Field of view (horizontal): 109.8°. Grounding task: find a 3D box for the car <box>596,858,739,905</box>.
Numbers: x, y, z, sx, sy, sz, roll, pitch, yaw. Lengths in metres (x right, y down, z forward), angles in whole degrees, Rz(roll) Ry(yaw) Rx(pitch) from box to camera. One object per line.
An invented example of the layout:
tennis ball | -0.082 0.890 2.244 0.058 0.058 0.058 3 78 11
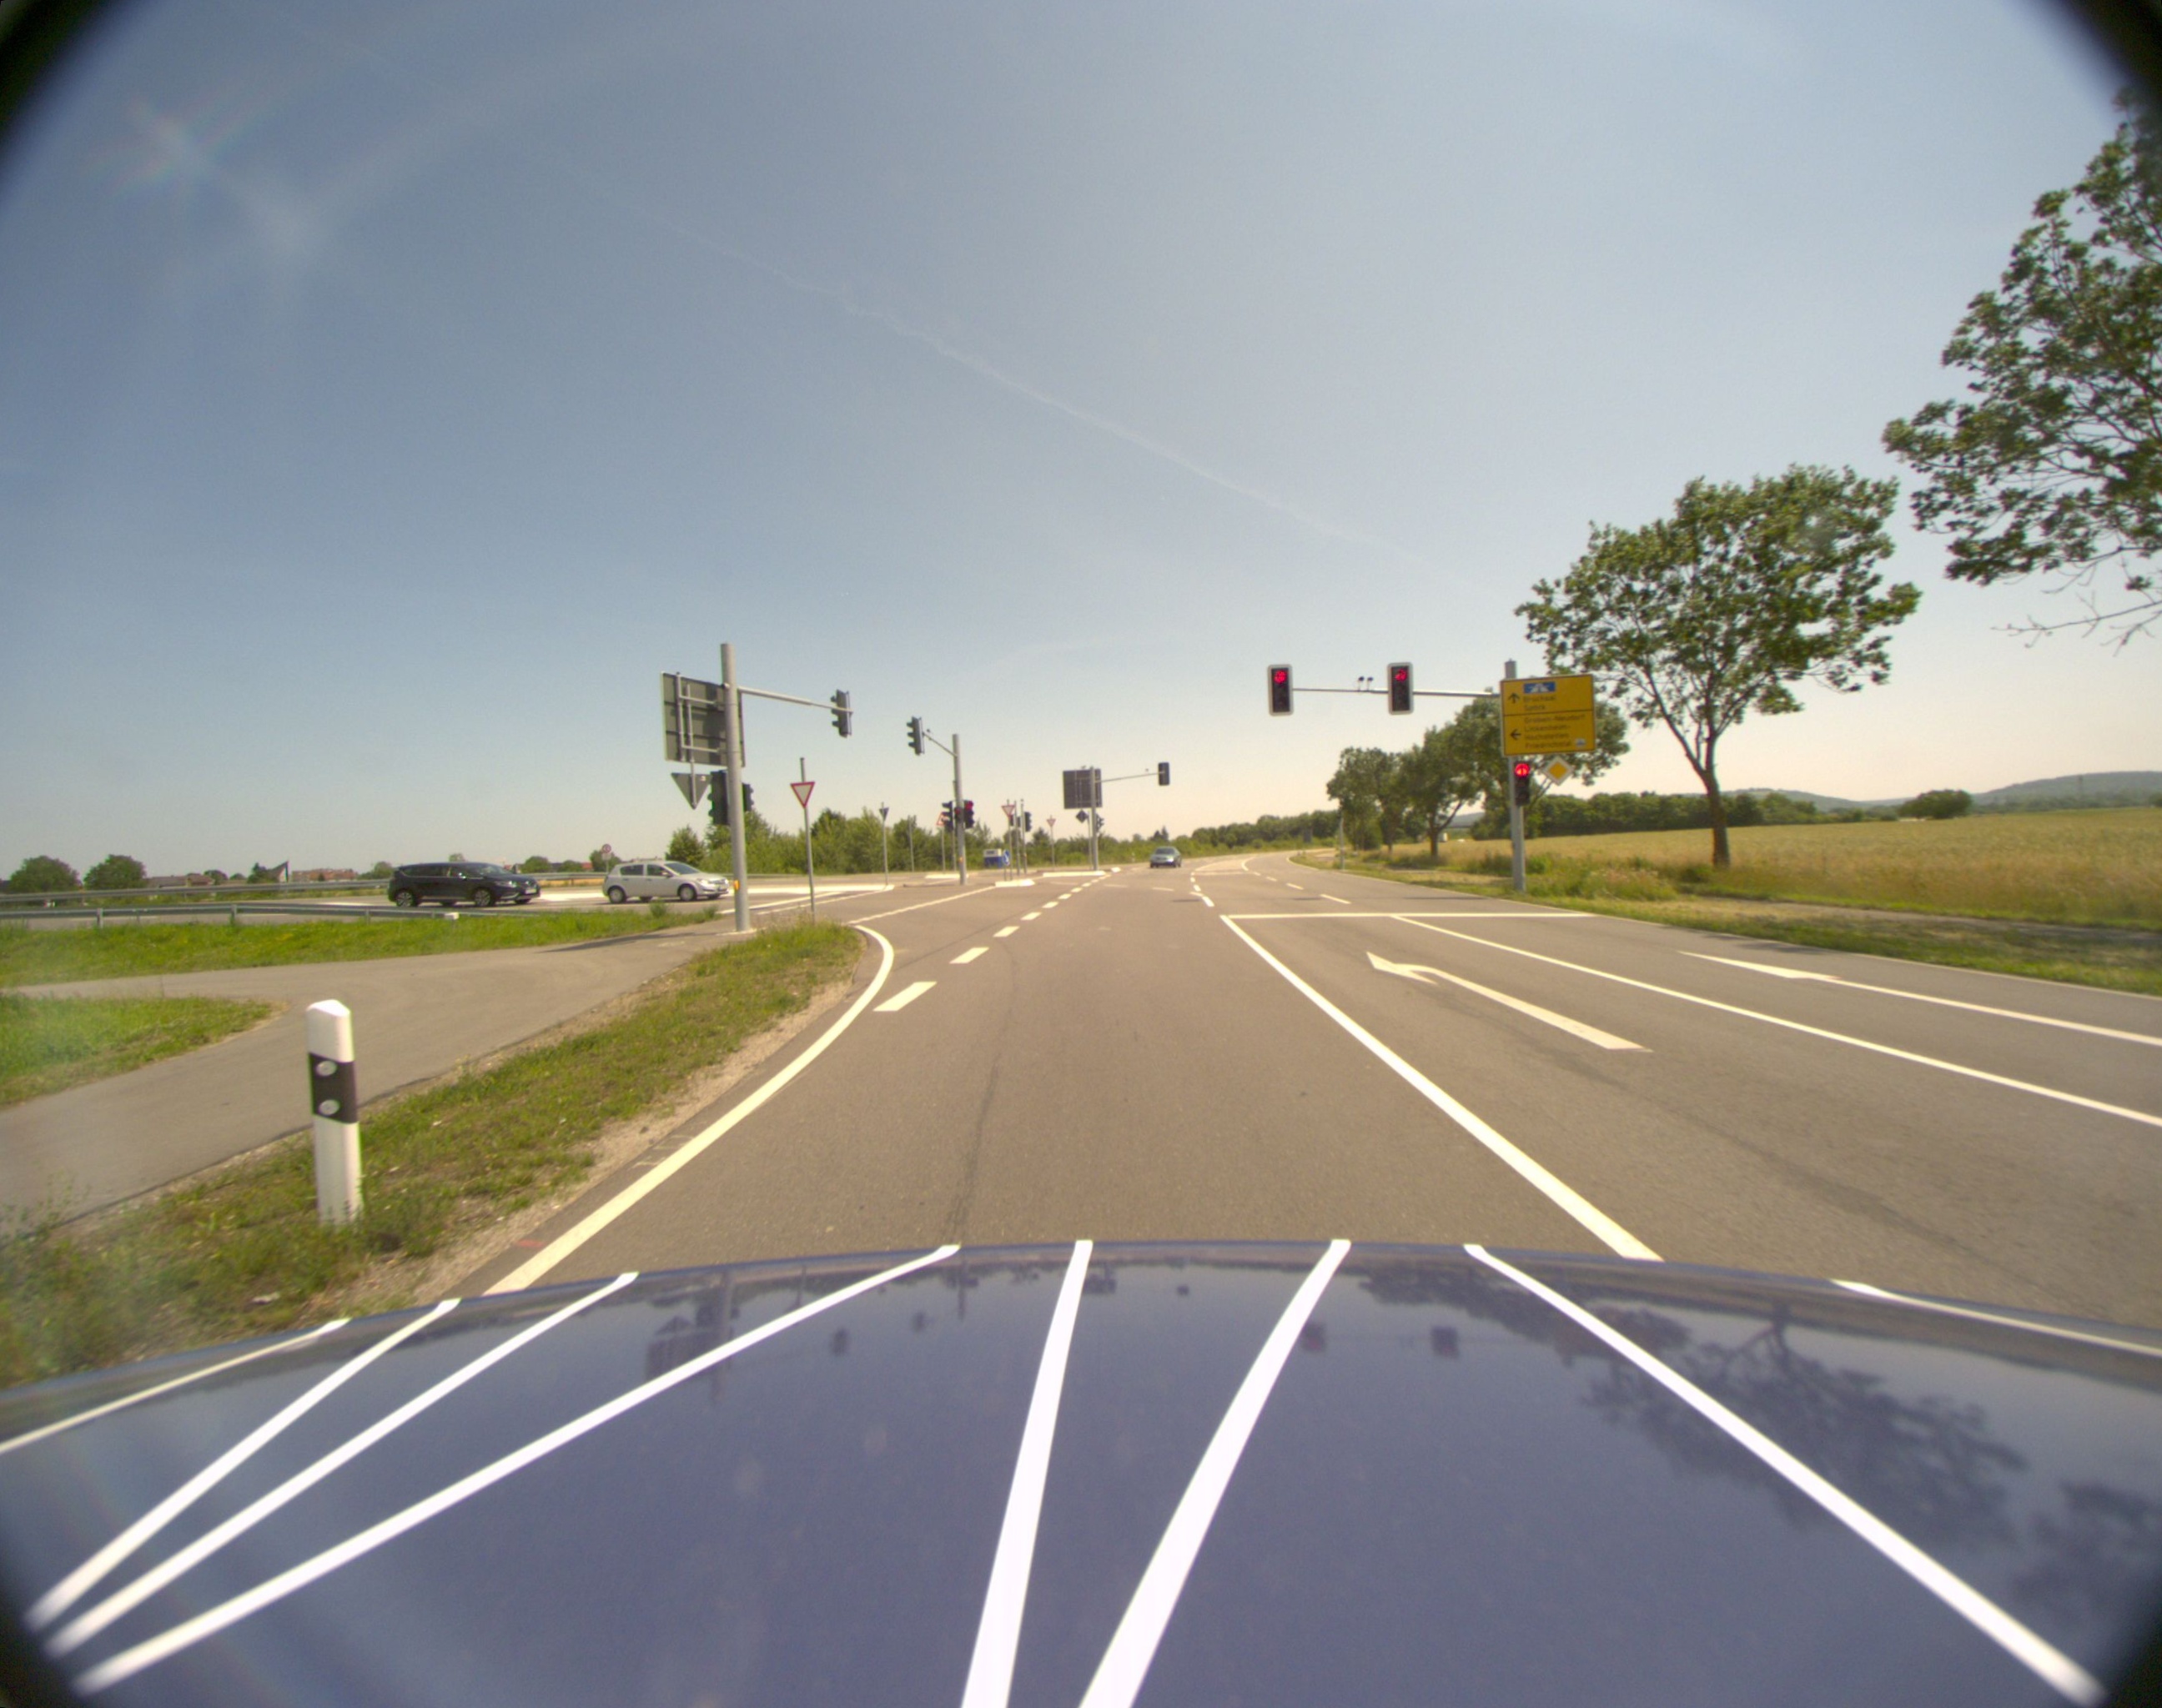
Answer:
car | -14.571 0.950 26.900 4.147 1.451 1.661 -2 1 6

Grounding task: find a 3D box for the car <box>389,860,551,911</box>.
car | -22.098 1.111 27.564 4.521 1.632 1.814 -1 2 6

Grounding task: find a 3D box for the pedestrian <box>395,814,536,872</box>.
pedestrian | -23.177 -0.433 28.827 1.998 2.002 3.999 -1 1 1

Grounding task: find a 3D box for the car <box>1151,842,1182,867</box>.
car | 5.858 0.017 51.853 1.655 1.557 4.004 -1 1 13
